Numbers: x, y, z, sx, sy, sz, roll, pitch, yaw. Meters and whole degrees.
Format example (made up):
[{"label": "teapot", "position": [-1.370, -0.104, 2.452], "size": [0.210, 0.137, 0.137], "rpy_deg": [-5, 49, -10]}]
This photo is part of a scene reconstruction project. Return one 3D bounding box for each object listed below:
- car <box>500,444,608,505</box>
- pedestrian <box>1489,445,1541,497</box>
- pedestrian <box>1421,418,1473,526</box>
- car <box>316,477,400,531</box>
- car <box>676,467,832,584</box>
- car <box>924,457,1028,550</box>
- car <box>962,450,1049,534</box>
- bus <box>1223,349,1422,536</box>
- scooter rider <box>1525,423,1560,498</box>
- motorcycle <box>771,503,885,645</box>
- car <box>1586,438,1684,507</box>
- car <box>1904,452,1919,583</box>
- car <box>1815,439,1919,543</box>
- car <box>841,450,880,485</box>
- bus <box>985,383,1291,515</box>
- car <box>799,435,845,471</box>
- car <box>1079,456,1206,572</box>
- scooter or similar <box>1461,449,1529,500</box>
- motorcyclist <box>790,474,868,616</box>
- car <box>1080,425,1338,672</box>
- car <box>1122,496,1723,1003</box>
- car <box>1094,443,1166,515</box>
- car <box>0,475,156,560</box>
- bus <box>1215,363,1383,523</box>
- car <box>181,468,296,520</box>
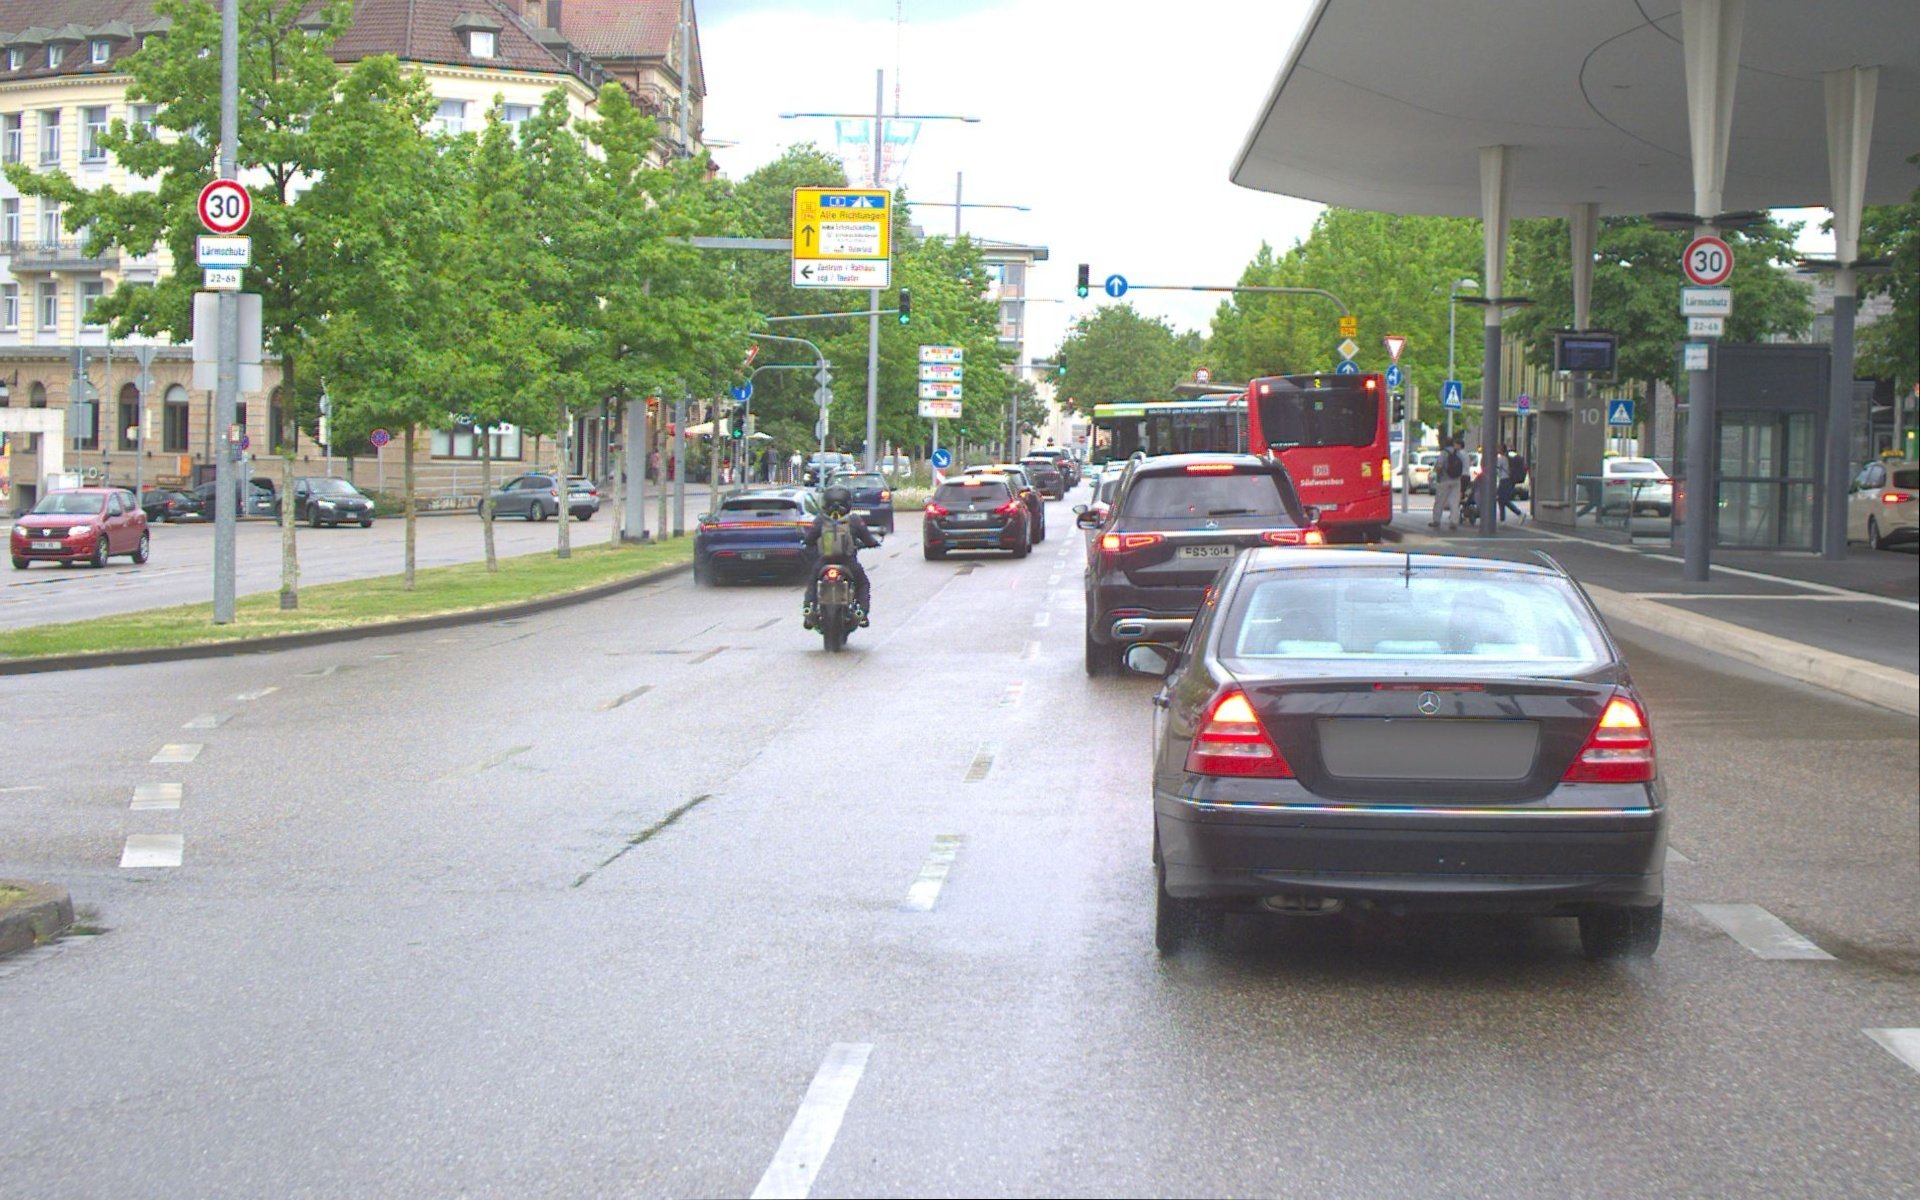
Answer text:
[{"label": "car", "position": [-12.341, -3.791, 104.244], "size": [1.865, 1.678, 4.001], "rpy_deg": [4, 0, -27]}, {"label": "pedestrian", "position": [11.092, -2.575, 68.684], "size": [0.914, 0.981, 0.633], "rpy_deg": [2, -2, 16]}, {"label": "pedestrian", "position": [9.280, -2.433, 65.544], "size": [0.778, 2.006, 0.781], "rpy_deg": [4, 2, 15]}, {"label": "car", "position": [-17.389, -2.793, 99.179], "size": [1.680, 1.522, 4.641], "rpy_deg": [-1, 2, -19]}, {"label": "car", "position": [-3.012, -1.146, 51.053], "size": [1.816, 1.565, 4.404], "rpy_deg": [-2, 3, 3]}, {"label": "car", "position": [0.310, -1.719, 60.396], "size": [1.576, 1.499, 3.871], "rpy_deg": [-2, 3, 3]}, {"label": "car", "position": [0.926, -2.181, 68.715], "size": [1.575, 1.561, 3.871], "rpy_deg": [-2, 3, 3]}, {"label": "bus", "position": [6.869, -3.047, 66.710], "size": [3.286, 3.280, 10.878], "rpy_deg": [0, 3, 3]}, {"label": "scooter rider", "position": [11.626, -2.780, 68.640], "size": [0.592, 1.484, 0.764], "rpy_deg": [1, 2, 16]}, {"label": "motorcycle", "position": [-1.239, -0.261, 32.707], "size": [0.793, 1.257, 1.855], "rpy_deg": [-1, 3, 6]}, {"label": "car", "position": [16.973, -3.230, 86.604], "size": [1.712, 1.656, 4.240], "rpy_deg": [1, 2, 1]}, {"label": "car", "position": [11.482, -0.860, 37.204], "size": [1.647, 1.448, 3.238], "rpy_deg": [0, 3, 1]}, {"label": "car", "position": [15.682, -1.839, 57.576], "size": [1.712, 1.656, 4.240], "rpy_deg": [1, 2, 1]}, {"label": "car", "position": [-4.686, -6.254, 162.462], "size": [1.575, 1.561, 3.430], "rpy_deg": [-2, 3, 3]}, {"label": "bus", "position": [5.477, -4.741, 109.183], "size": [2.838, 3.974, 11.862], "rpy_deg": [-1, 3, -36]}, {"label": "car", "position": [-6.266, -6.669, 156.197], "size": [1.780, 1.561, 3.430], "rpy_deg": [-2, 3, 3]}, {"label": "car", "position": [2.662, -1.298, 50.432], "size": [1.741, 1.561, 3.871], "rpy_deg": [-2, 3, 3]}, {"label": "scooter or similar", "position": [10.720, -2.509, 68.863], "size": [1.244, 1.009, 0.763], "rpy_deg": [1, 2, 17]}, {"label": "motorcyclist", "position": [-1.252, -0.532, 32.880], "size": [0.641, 1.342, 0.689], "rpy_deg": [0, 2, 6]}, {"label": "car", "position": [2.047, -0.514, 29.283], "size": [1.957, 1.869, 4.874], "rpy_deg": [-2, 3, 3]}, {"label": "car", "position": [1.513, 0.395, 12.643], "size": [1.697, 1.457, 4.304], "rpy_deg": [-1, 3, 1]}, {"label": "car", "position": [3.926, -2.822, 79.702], "size": [1.575, 1.561, 3.871], "rpy_deg": [-2, 3, 3]}, {"label": "car", "position": [-16.943, -1.608, 66.004], "size": [1.823, 1.546, 4.032], "rpy_deg": [0, 2, 4]}, {"label": "bus", "position": [7.373, -3.451, 75.795], "size": [3.291, 3.277, 8.849], "rpy_deg": [0, 3, 3]}, {"label": "car", "position": [-25.345, -3.731, 120.643], "size": [2.113, 1.769, 4.391], "rpy_deg": [-3, 3, -40]}]
